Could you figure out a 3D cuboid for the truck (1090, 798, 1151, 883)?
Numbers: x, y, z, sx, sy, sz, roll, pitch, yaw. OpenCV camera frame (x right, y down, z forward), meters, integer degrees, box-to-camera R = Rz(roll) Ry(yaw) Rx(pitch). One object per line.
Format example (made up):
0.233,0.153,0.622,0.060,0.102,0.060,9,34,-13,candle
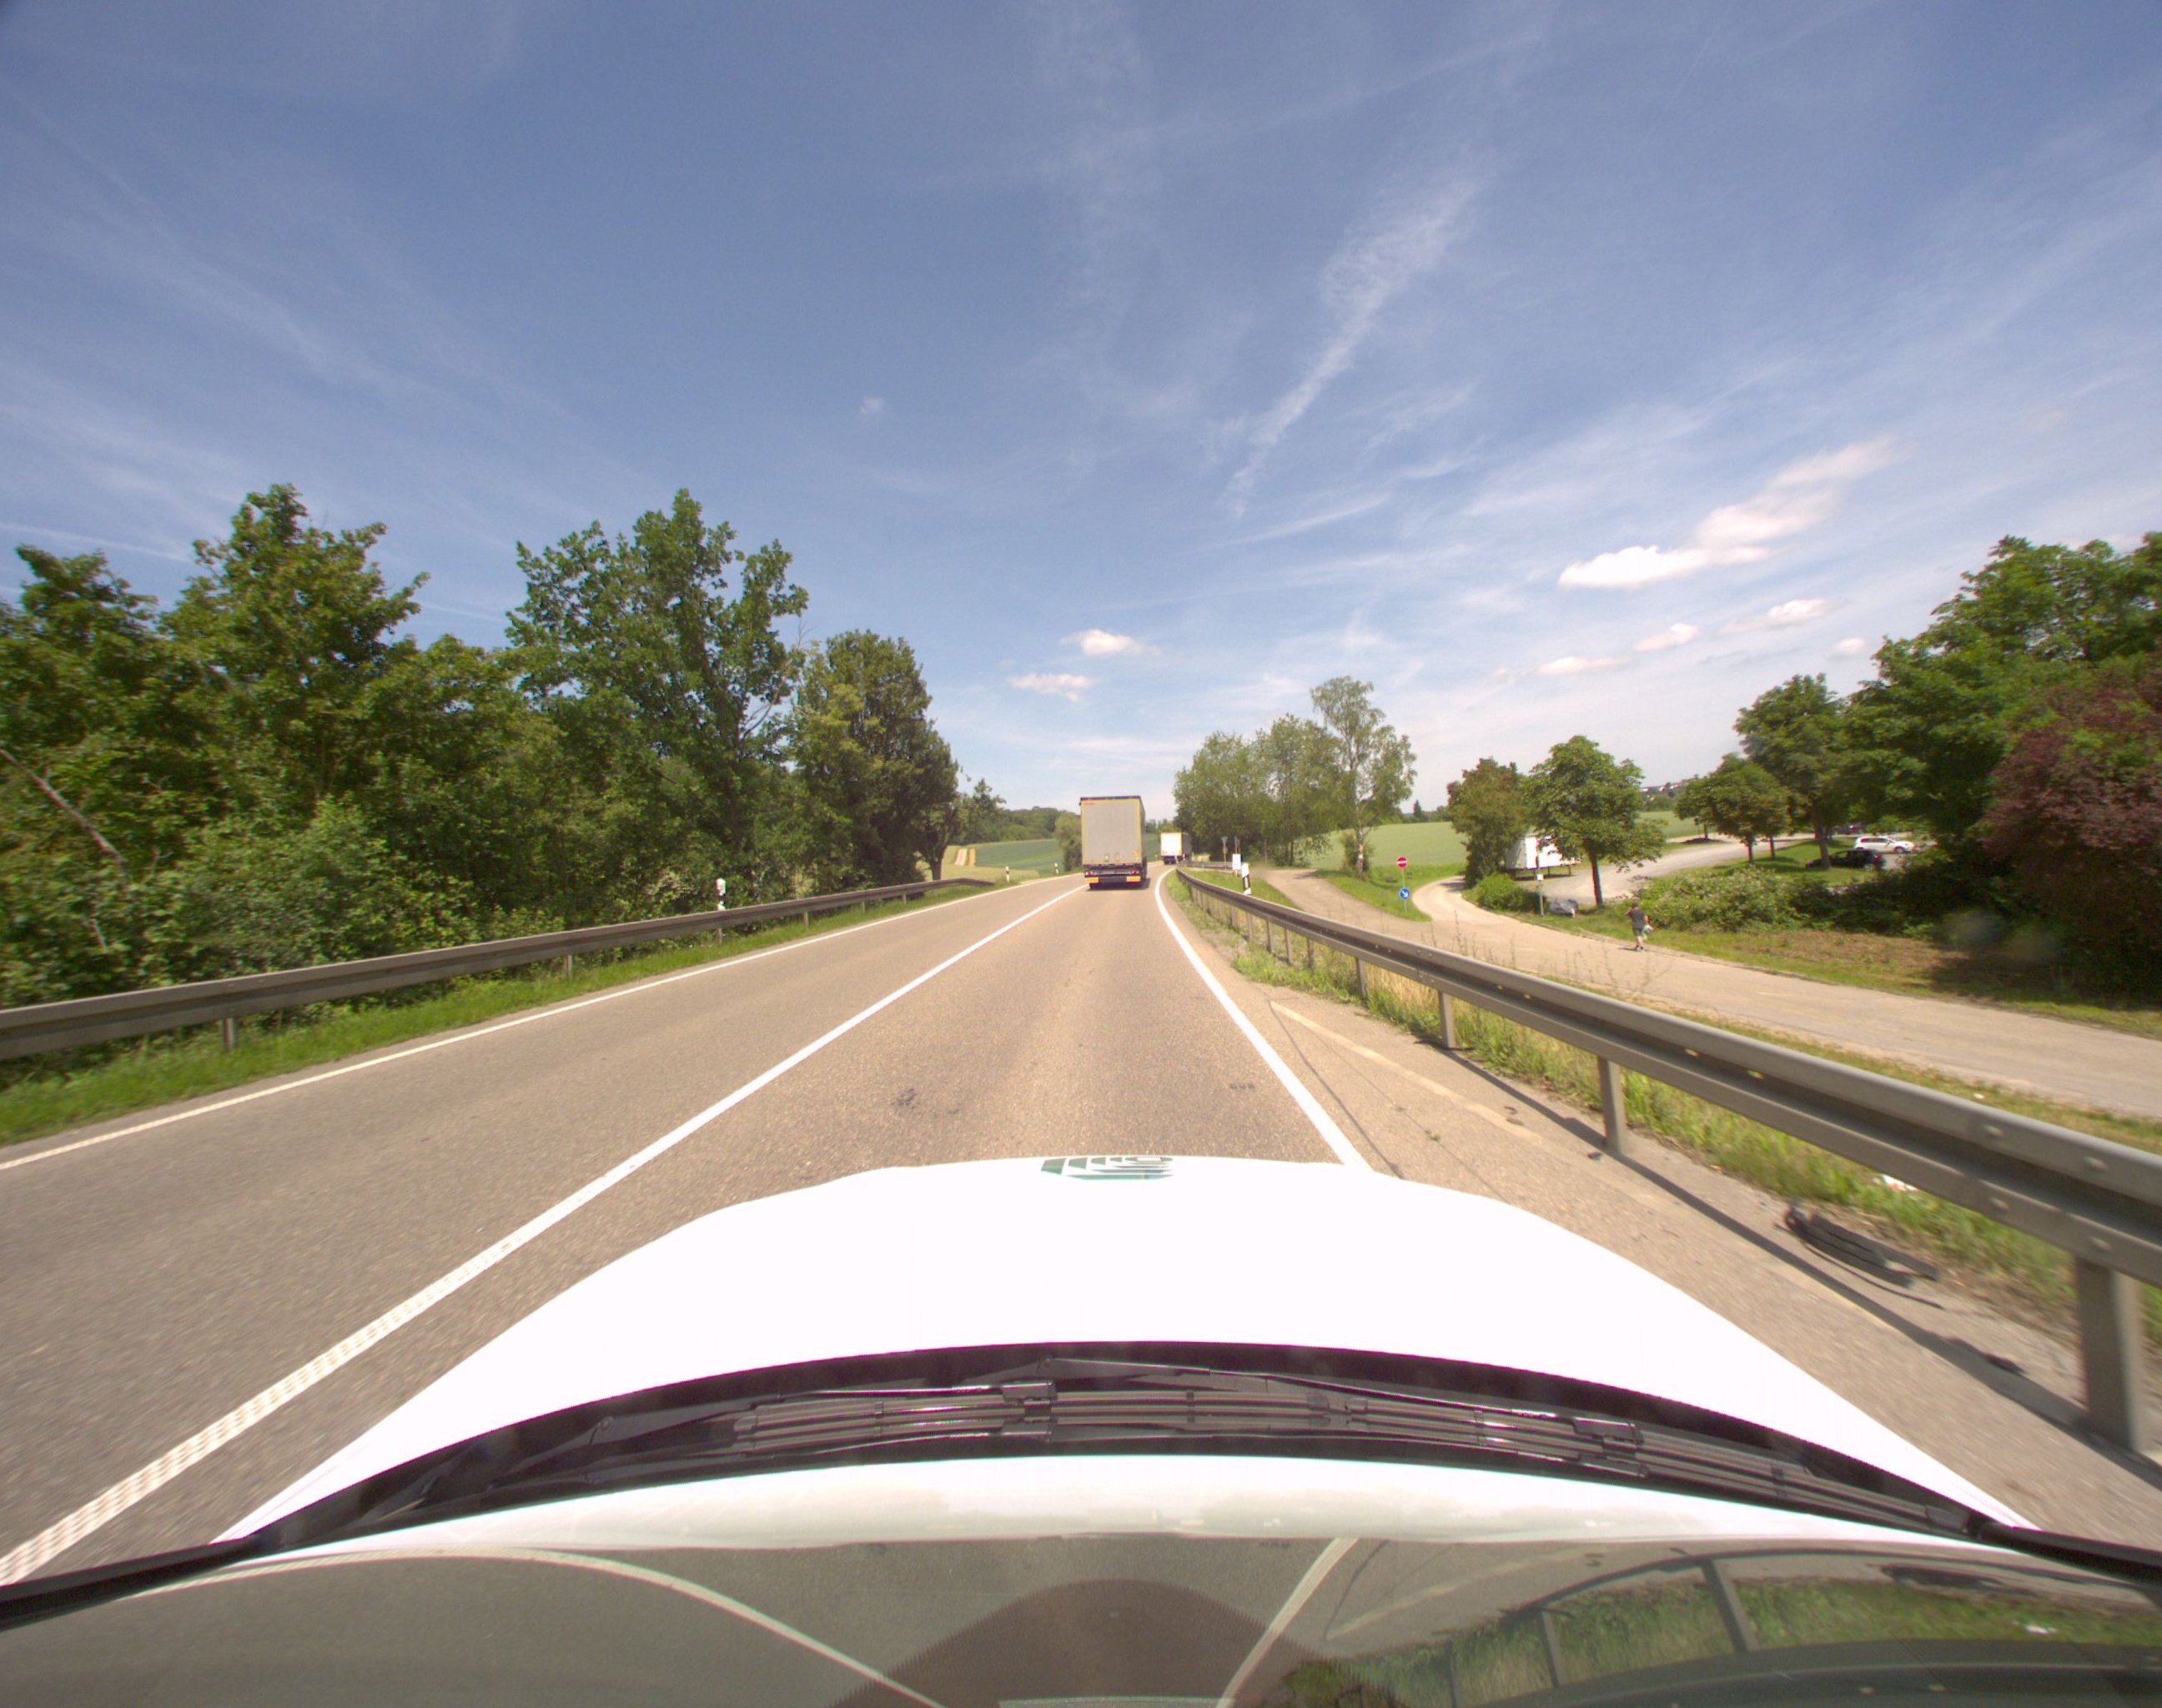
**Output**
2.402,-0.722,47.069,3.104,4.494,6.820,-2,0,5,truck

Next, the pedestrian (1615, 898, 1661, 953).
20.062,2.555,29.348,0.881,1.811,0.960,-5,0,2,pedestrian

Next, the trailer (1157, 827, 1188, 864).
12.214,-0.927,107.397,3.346,4.317,13.896,-2,-1,8,trailer

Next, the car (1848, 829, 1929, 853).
66.308,-1.060,66.959,2.005,1.658,4.304,-4,1,-28,car

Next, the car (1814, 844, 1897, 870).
51.717,0.215,54.445,1.700,1.491,3.660,-4,1,-30,car

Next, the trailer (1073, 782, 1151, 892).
1.877,-0.714,40.954,3.104,4.499,13.904,-2,0,5,trailer
